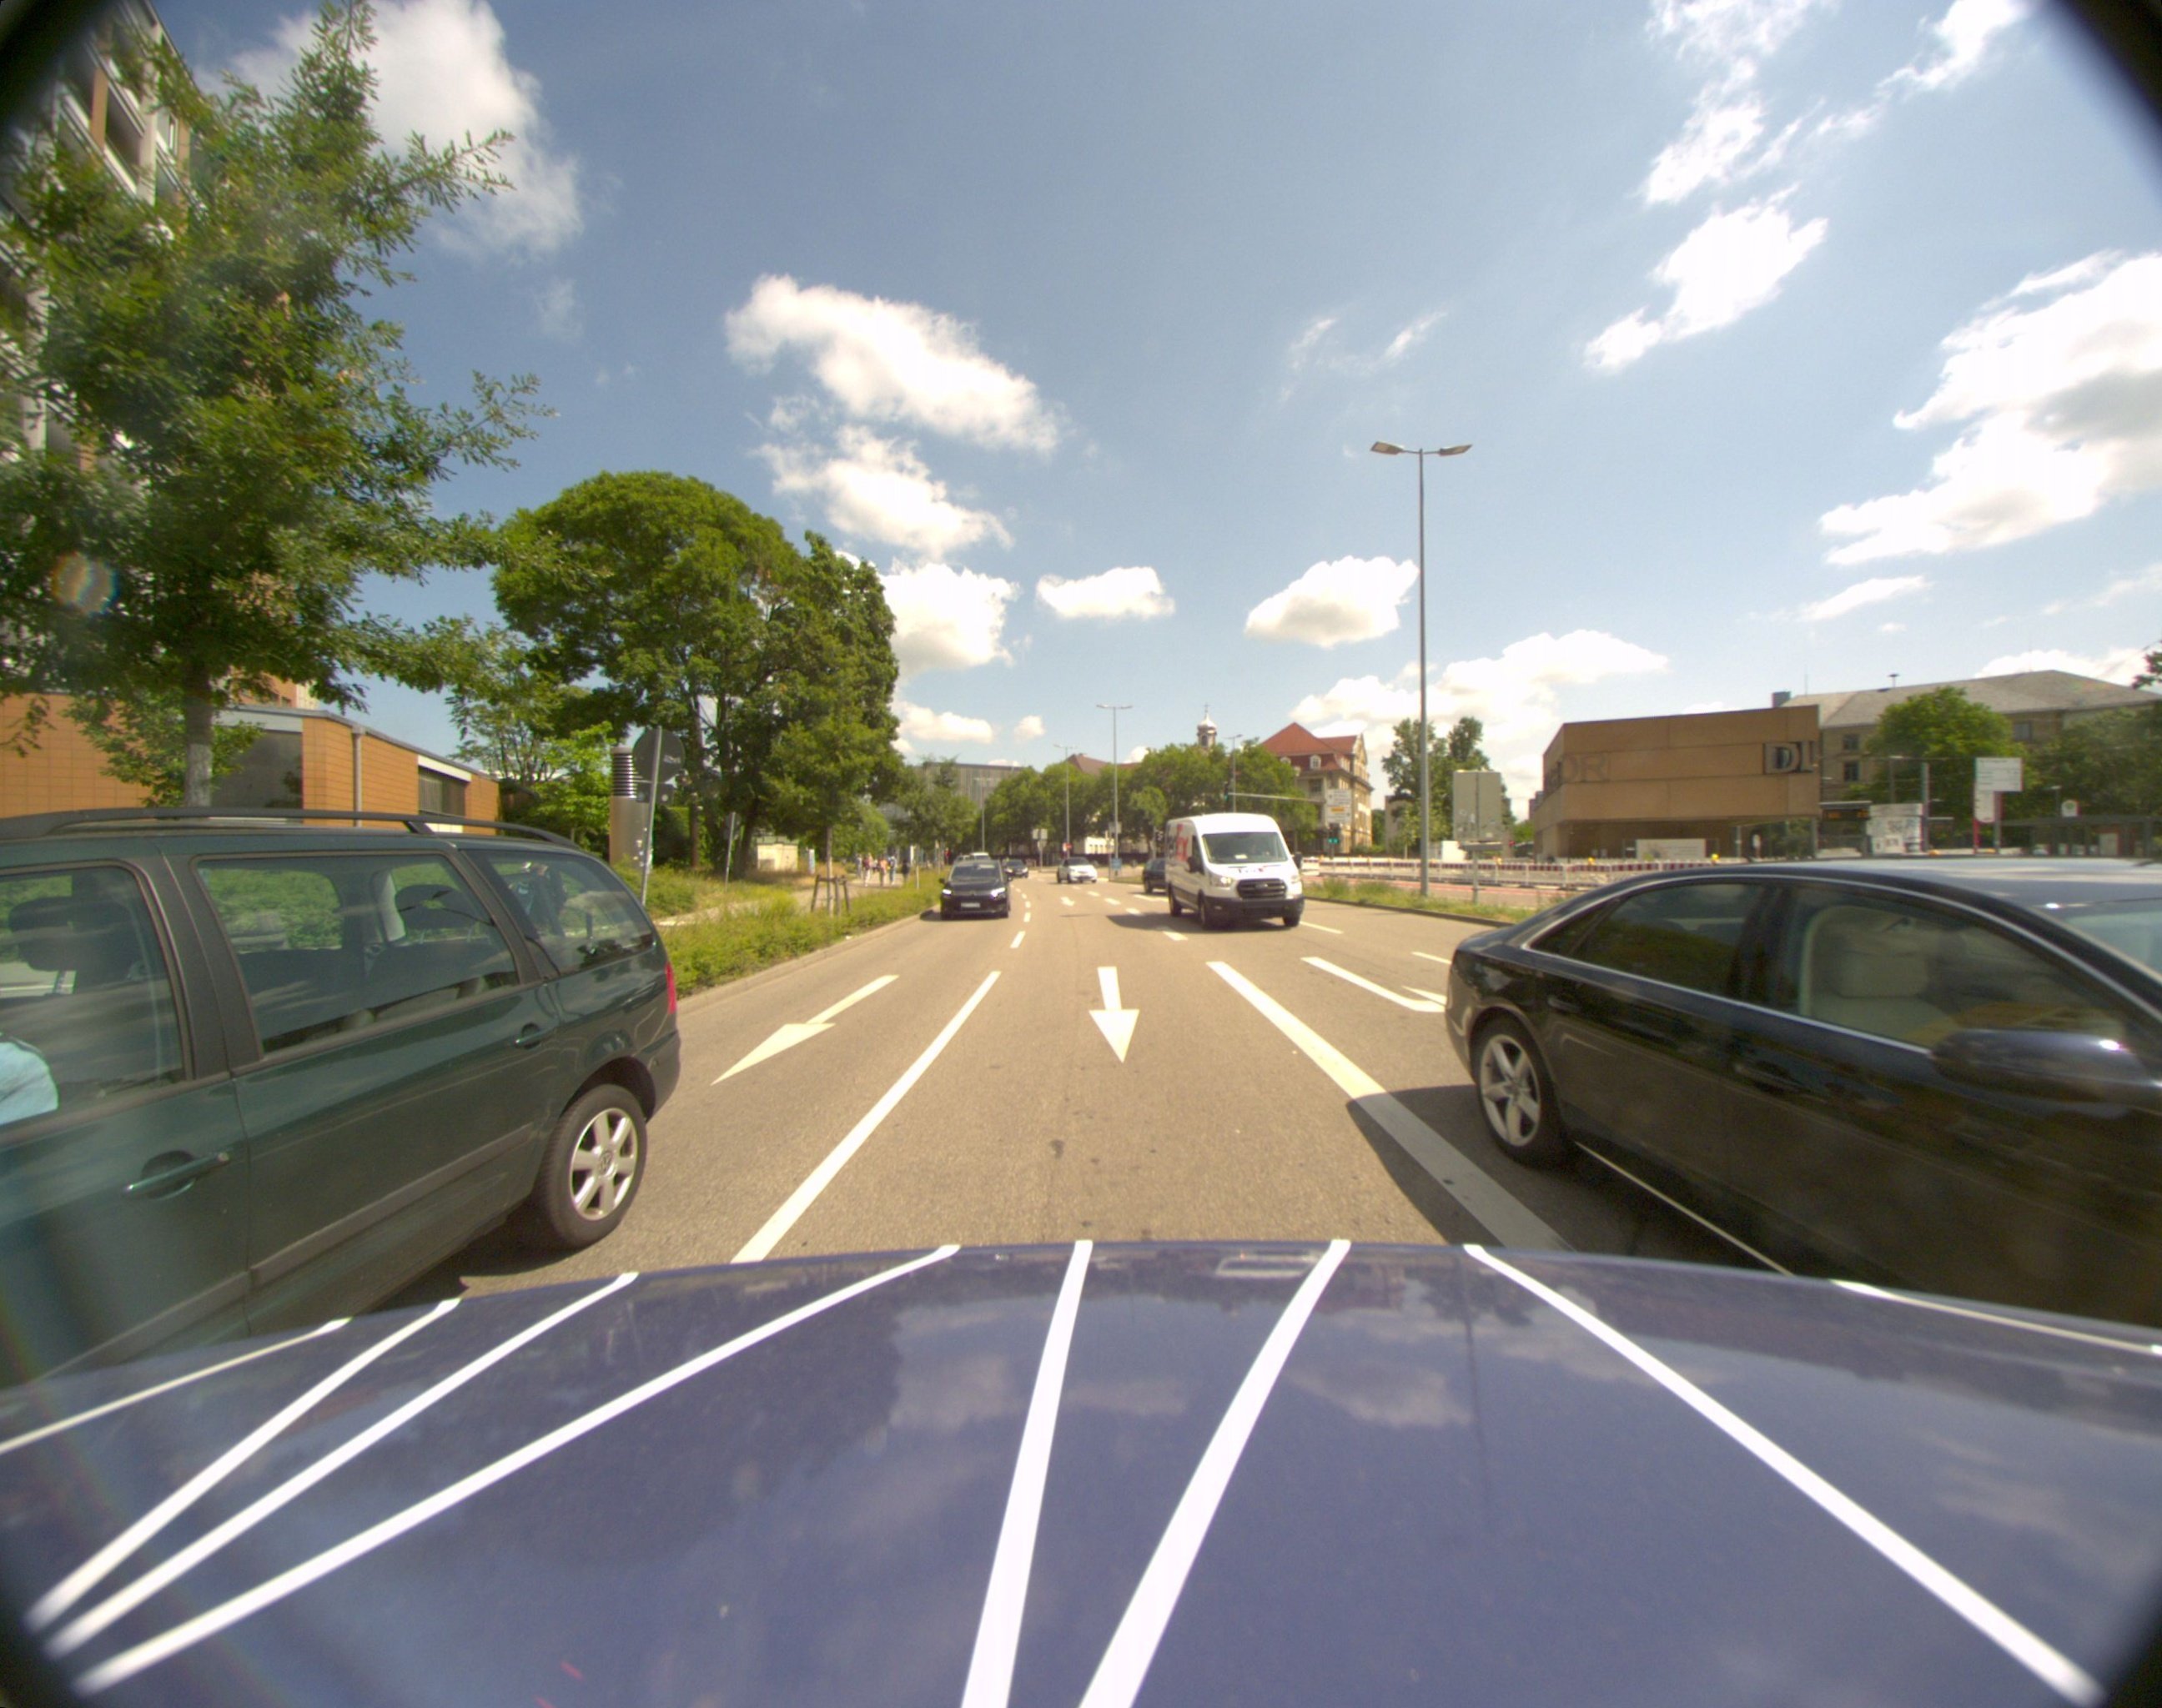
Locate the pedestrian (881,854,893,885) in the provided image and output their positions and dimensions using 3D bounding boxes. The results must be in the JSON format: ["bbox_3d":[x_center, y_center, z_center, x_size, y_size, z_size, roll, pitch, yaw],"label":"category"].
[{"bbox_3d":[-10.601,0.845,41.493,0.589,1.617,0.726,-2,2,-16],"label":"pedestrian"}]

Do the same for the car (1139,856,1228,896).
[{"bbox_3d":[4.020,0.822,30.528,1.754,1.426,4.513,-2,0,-18],"label":"car"}]

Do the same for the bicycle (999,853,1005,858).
[{"bbox_3d":[-15.639,0.330,149.779,0.383,1.037,1.666,-1,1,-37],"label":"bicycle"}]

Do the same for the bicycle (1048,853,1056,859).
[{"bbox_3d":[-5.240,0.417,137.143,0.399,1.037,1.635,-1,1,-44],"label":"bicycle"}]

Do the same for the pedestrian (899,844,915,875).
[{"bbox_3d":[-9.255,0.303,40.480,0.652,1.617,0.774,2,2,-1],"label":"pedestrian"}]

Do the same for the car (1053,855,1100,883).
[{"bbox_3d":[-0.352,0.874,46.312,1.753,1.496,4.514,-3,1,-15],"label":"car"}]

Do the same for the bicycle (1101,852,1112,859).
[{"bbox_3d":[4.334,0.292,127.690,2.033,1.130,0.399,0,1,41],"label":"bicycle"}]

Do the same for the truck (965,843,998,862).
[{"bbox_3d":[-12.672,-0.160,96.511,2.466,2.288,5.804,-3,1,-24],"label":"truck"}]

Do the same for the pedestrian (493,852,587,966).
[{"bbox_3d":[-7.918,0.778,11.147,0.758,1.581,0.761,-2,2,-1],"label":"pedestrian"}]

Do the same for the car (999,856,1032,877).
[{"bbox_3d":[-5.276,0.939,60.768,1.754,1.496,4.513,-3,1,-17],"label":"car"}]

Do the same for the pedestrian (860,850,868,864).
[{"bbox_3d":[-25.987,0.346,91.002,0.669,1.736,0.608,1,0,-30],"label":"pedestrian"}]

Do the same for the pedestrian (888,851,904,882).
[{"bbox_3d":[-11.123,0.755,45.681,0.759,1.810,0.778,3,0,-22],"label":"pedestrian"}]

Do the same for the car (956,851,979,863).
[{"bbox_3d":[-18.095,0.442,120.791,1.890,1.883,4.857,-1,0,-31],"label":"car"}]

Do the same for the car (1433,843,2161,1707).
[{"bbox_3d":[2.900,0.786,1.857,1.933,1.632,4.792,-1,0,1],"label":"car"}]

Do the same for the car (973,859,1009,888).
[{"bbox_3d":[-5.072,1.027,42.296,1.767,1.409,4.359,-3,1,-9],"label":"car"}]

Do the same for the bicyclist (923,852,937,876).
[{"bbox_3d":[-10.350,0.710,52.178,0.831,1.592,0.578,2,1,-18],"label":"bicyclist"}]

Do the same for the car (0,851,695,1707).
[{"bbox_3d":[-2.915,0.915,1.575,1.799,1.713,4.447,-2,1,1],"label":"car"}]

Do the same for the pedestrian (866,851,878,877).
[{"bbox_3d":[-14.656,0.709,53.267,0.753,1.792,0.608,1,0,-18],"label":"pedestrian"}]

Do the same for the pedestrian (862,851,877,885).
[{"bbox_3d":[-11.469,0.747,41.201,0.759,1.811,0.637,-2,2,-16],"label":"pedestrian"}]

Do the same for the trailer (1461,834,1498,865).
[{"bbox_3d":[38.756,-0.497,73.987,1.997,2.897,4.369,-1,2,12],"label":"trailer"}]

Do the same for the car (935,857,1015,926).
[{"bbox_3d":[-2.942,0.985,22.004,1.863,1.613,4.518,-3,1,-3],"label":"car"}]

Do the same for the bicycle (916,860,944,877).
[{"bbox_3d":[-10.387,0.989,52.177,1.817,1.044,0.591,2,1,-18],"label":"bicycle"}]

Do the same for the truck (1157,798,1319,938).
[{"bbox_3d":[3.307,0.226,17.482,2.143,2.625,5.914,-2,1,-3],"label":"truck"}]

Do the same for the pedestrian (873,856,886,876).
[{"bbox_3d":[-16.252,0.962,61.376,0.753,1.587,0.879,1,0,-32],"label":"pedestrian"}]

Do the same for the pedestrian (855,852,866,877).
[{"bbox_3d":[-15.324,0.709,52.785,0.753,1.742,0.608,1,0,-18],"label":"pedestrian"}]

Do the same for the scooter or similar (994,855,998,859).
[{"bbox_3d":[-16.906,0.527,150.698,0.354,0.838,1.067,-1,1,-38],"label":"scooter or similar"}]
